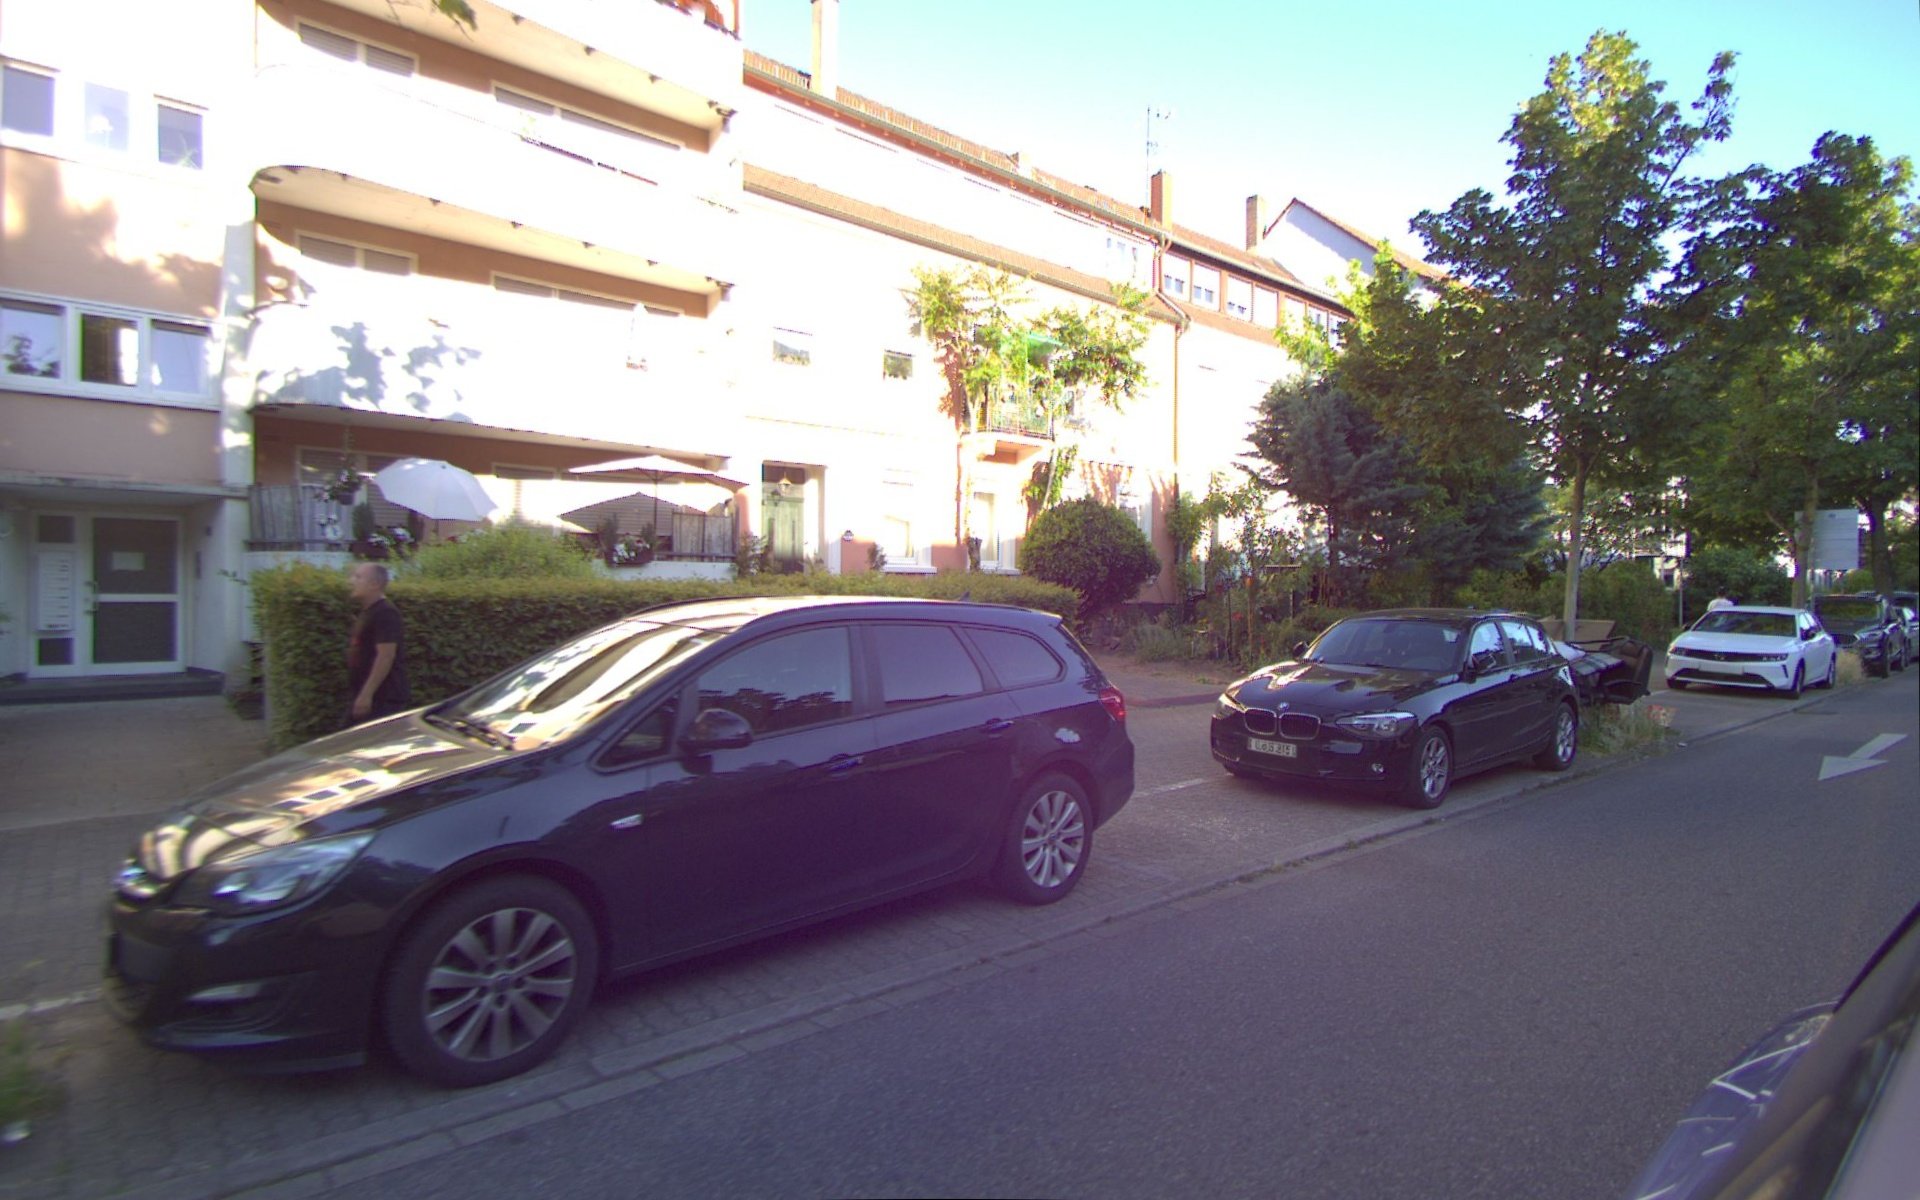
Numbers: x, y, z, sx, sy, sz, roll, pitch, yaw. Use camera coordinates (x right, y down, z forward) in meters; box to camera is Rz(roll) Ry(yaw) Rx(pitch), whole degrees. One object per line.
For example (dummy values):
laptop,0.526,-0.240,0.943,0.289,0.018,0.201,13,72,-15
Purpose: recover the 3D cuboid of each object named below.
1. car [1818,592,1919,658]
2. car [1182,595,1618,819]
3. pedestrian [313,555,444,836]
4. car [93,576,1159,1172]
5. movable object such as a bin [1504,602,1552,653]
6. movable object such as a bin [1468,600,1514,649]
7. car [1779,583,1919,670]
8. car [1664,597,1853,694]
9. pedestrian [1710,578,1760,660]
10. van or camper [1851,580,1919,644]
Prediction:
car,23.461,0.570,25.640,4.744,1.523,1.788,0,0,-39
car,4.027,0.703,8.885,4.406,1.467,1.773,0,1,-41
pedestrian,-3.666,0.550,6.367,0.570,1.636,0.747,0,0,-42
car,-1.100,0.668,4.663,4.356,1.490,1.719,0,1,-43
movable object such as a bin,12.963,0.618,23.105,0.672,1.071,0.727,0,3,-41
movable object such as a bin,12.439,0.559,23.705,0.672,1.071,0.727,0,3,-41
car,19.834,0.503,22.411,4.627,1.702,1.919,0,2,-42
car,13.798,0.678,17.403,4.257,1.419,1.765,0,1,-41
pedestrian,17.693,0.437,23.101,0.751,1.806,0.669,-2,-1,-41
van or camper,29.714,0.396,31.701,5.165,1.866,1.997,1,-1,-40
